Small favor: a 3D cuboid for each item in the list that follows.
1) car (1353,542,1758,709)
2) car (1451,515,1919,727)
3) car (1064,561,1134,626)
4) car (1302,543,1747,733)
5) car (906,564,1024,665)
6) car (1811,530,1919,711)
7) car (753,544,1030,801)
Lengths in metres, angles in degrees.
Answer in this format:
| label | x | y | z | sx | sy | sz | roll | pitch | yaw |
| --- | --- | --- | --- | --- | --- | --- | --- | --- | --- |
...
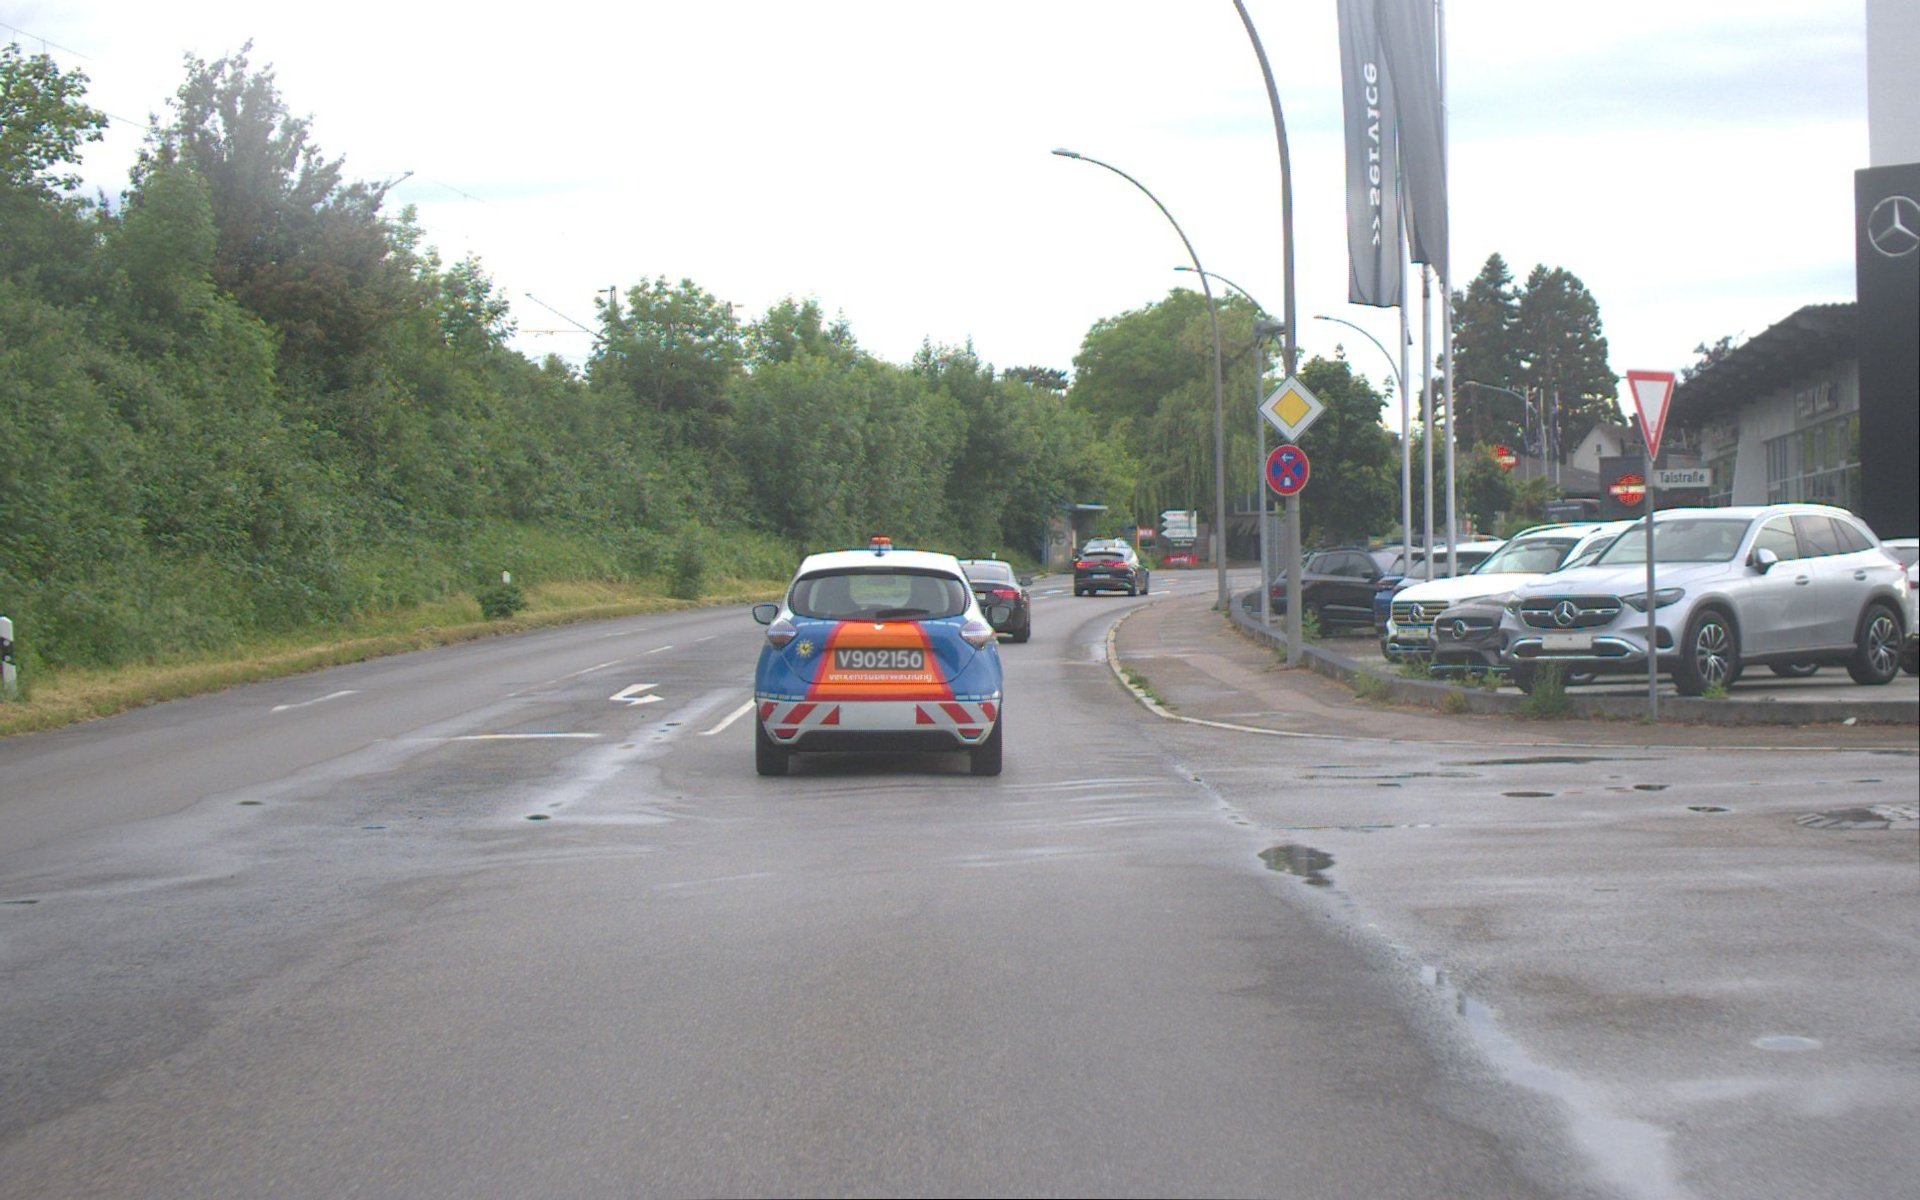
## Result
| label | x | y | z | sx | sy | sz | roll | pitch | yaw |
| --- | --- | --- | --- | --- | --- | --- | --- | --- | --- |
| car | 6.697 | 0.331 | 38.415 | 4.604 | 1.745 | 1.807 | 2 | -2 | -37 |
| car | 6.616 | 0.214 | 30.651 | 4.606 | 1.745 | 2.034 | 2 | -1 | -45 |
| car | 4.072 | -0.169 | 100.233 | 1.694 | 1.784 | 3.854 | 2 | 0 | 7 |
| car | 5.629 | 0.424 | 33.913 | 2.034 | 1.745 | 4.606 | -1 | -2 | 45 |
| car | 0.116 | 0.249 | 57.504 | 1.694 | 1.590 | 3.855 | 2 | 0 | 3 |
| car | 10.657 | 0.192 | 34.966 | 1.930 | 1.745 | 4.607 | 1 | 1 | 42 |
| car | -0.490 | 0.494 | 24.946 | 1.806 | 1.662 | 3.856 | 2 | 0 | -1 |
